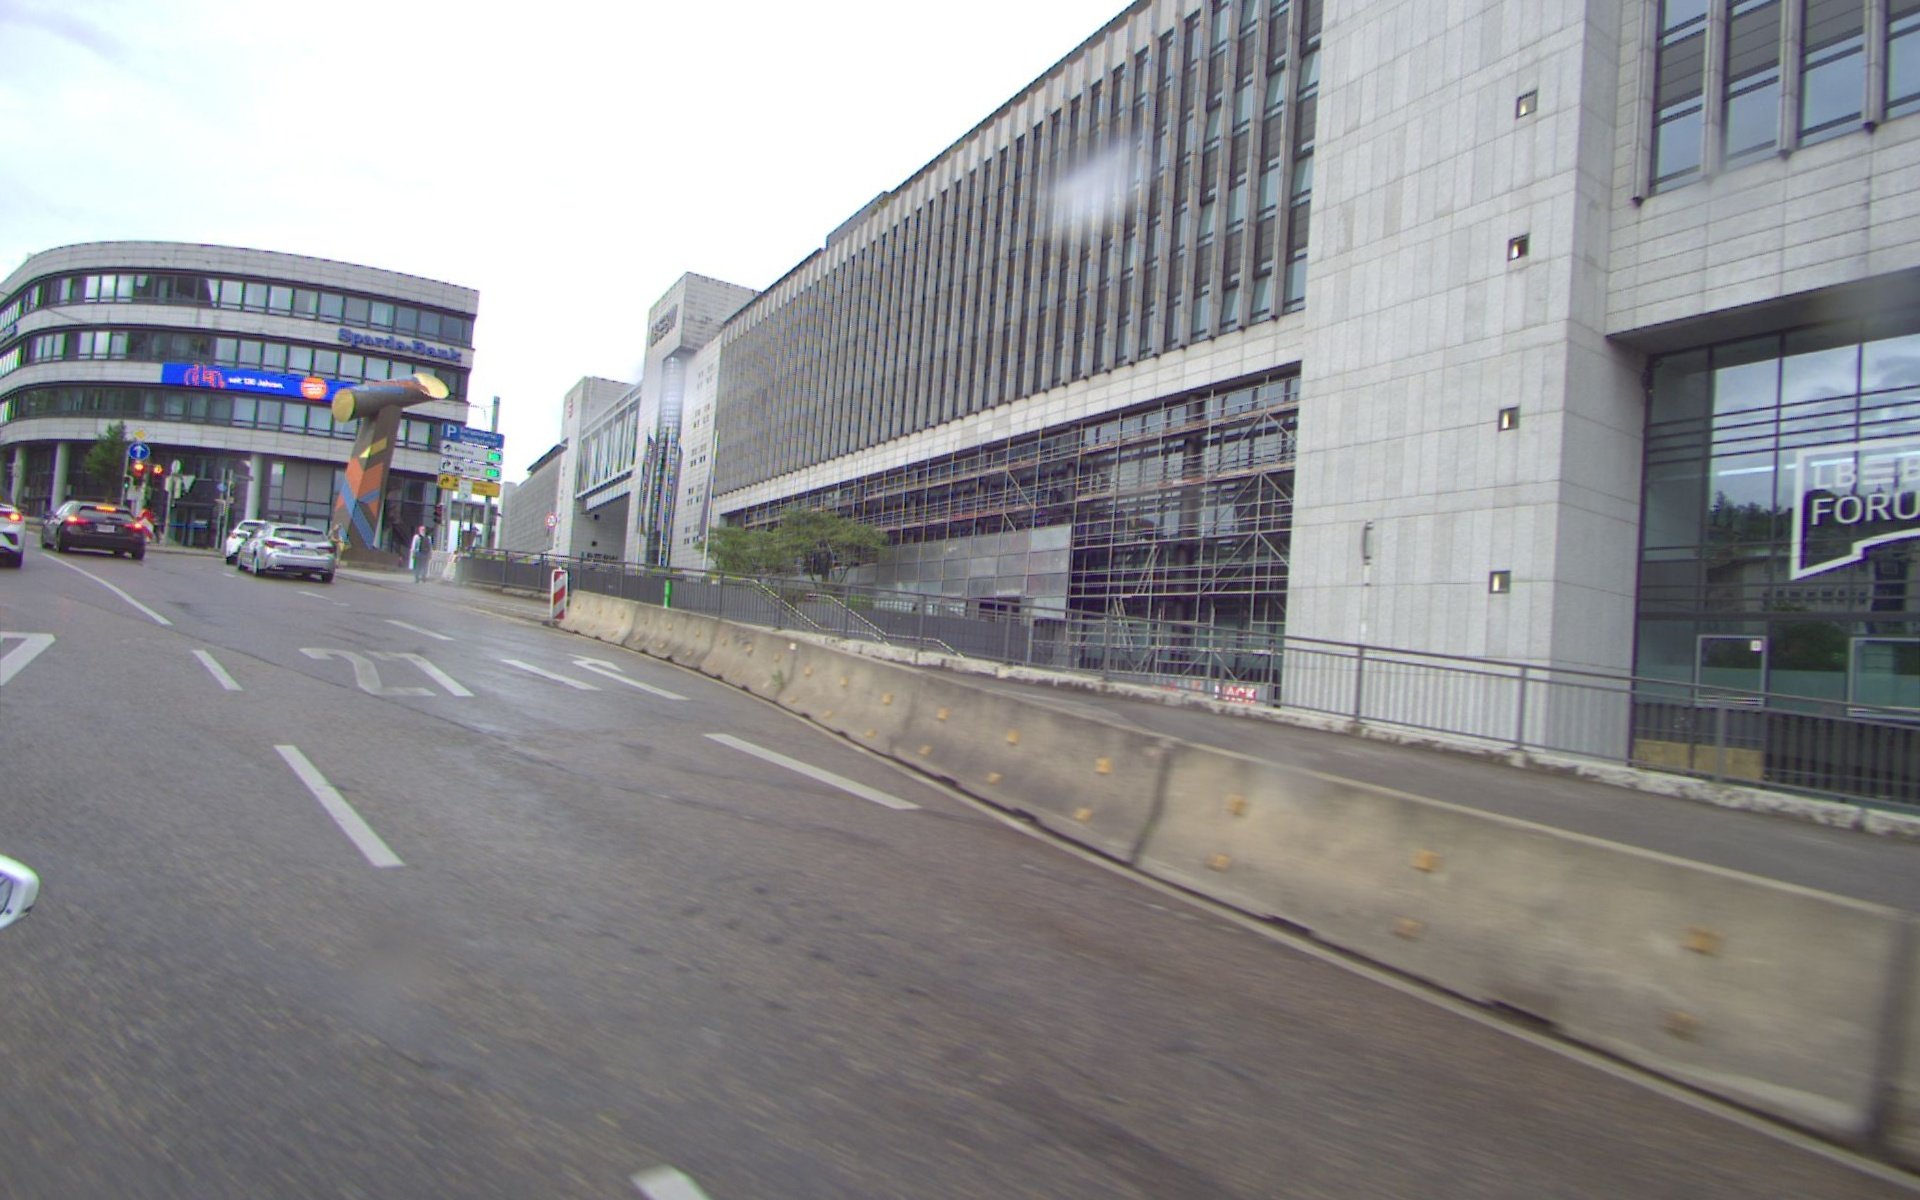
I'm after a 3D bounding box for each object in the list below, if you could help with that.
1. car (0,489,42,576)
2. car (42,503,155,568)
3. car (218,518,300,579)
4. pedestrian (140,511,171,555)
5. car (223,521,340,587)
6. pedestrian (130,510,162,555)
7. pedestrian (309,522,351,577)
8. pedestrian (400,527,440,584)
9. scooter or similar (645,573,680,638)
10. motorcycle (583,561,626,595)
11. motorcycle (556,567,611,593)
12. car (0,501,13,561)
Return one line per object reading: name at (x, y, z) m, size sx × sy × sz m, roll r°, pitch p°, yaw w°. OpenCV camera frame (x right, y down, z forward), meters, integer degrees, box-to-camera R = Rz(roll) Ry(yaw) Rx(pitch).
car at (-19.628, -1.460, 19.772) m, size 4.163 × 1.567 × 1.960 m, roll 6°, pitch -1°, yaw 43°
car at (-23.726, -1.766, 27.656) m, size 4.172 × 1.423 × 1.753 m, roll 4°, pitch -4°, yaw 43°
car at (-22.821, -1.656, 32.883) m, size 1.758 × 1.654 × 4.544 m, roll 7°, pitch -1°, yaw -31°
pedestrian at (-37.614, -3.131, 47.050) m, size 0.832 × 1.928 × 0.727 m, roll 5°, pitch 0°, yaw -26°
car at (-18.593, -1.273, 27.491) m, size 4.558 × 1.468 × 1.697 m, roll 4°, pitch -3°, yaw 45°
pedestrian at (-37.213, -3.083, 45.987) m, size 0.832 × 1.927 × 0.856 m, roll 5°, pitch -2°, yaw -26°
pedestrian at (-26.232, -2.102, 41.907) m, size 0.887 × 2.122 × 0.856 m, roll 7°, pitch -2°, yaw 15°
pedestrian at (-17.176, -1.409, 32.007) m, size 0.831 × 1.731 × 0.729 m, roll 3°, pitch -2°, yaw 38°
scooter or similar at (-5.523, 0.099, 18.689) m, size 0.347 × 1.176 × 0.567 m, roll 6°, pitch -1°, yaw -36°
motorcycle at (-16.068, -0.979, 45.502) m, size 0.596 × 1.371 × 1.726 m, roll 6°, pitch 0°, yaw 31°
motorcycle at (-17.804, -0.957, 47.692) m, size 0.624 × 1.095 × 2.564 m, roll 6°, pitch 2°, yaw 31°
car at (-25.807, -1.925, 25.575) m, size 3.938 × 1.460 × 1.740 m, roll 5°, pitch -1°, yaw 36°
